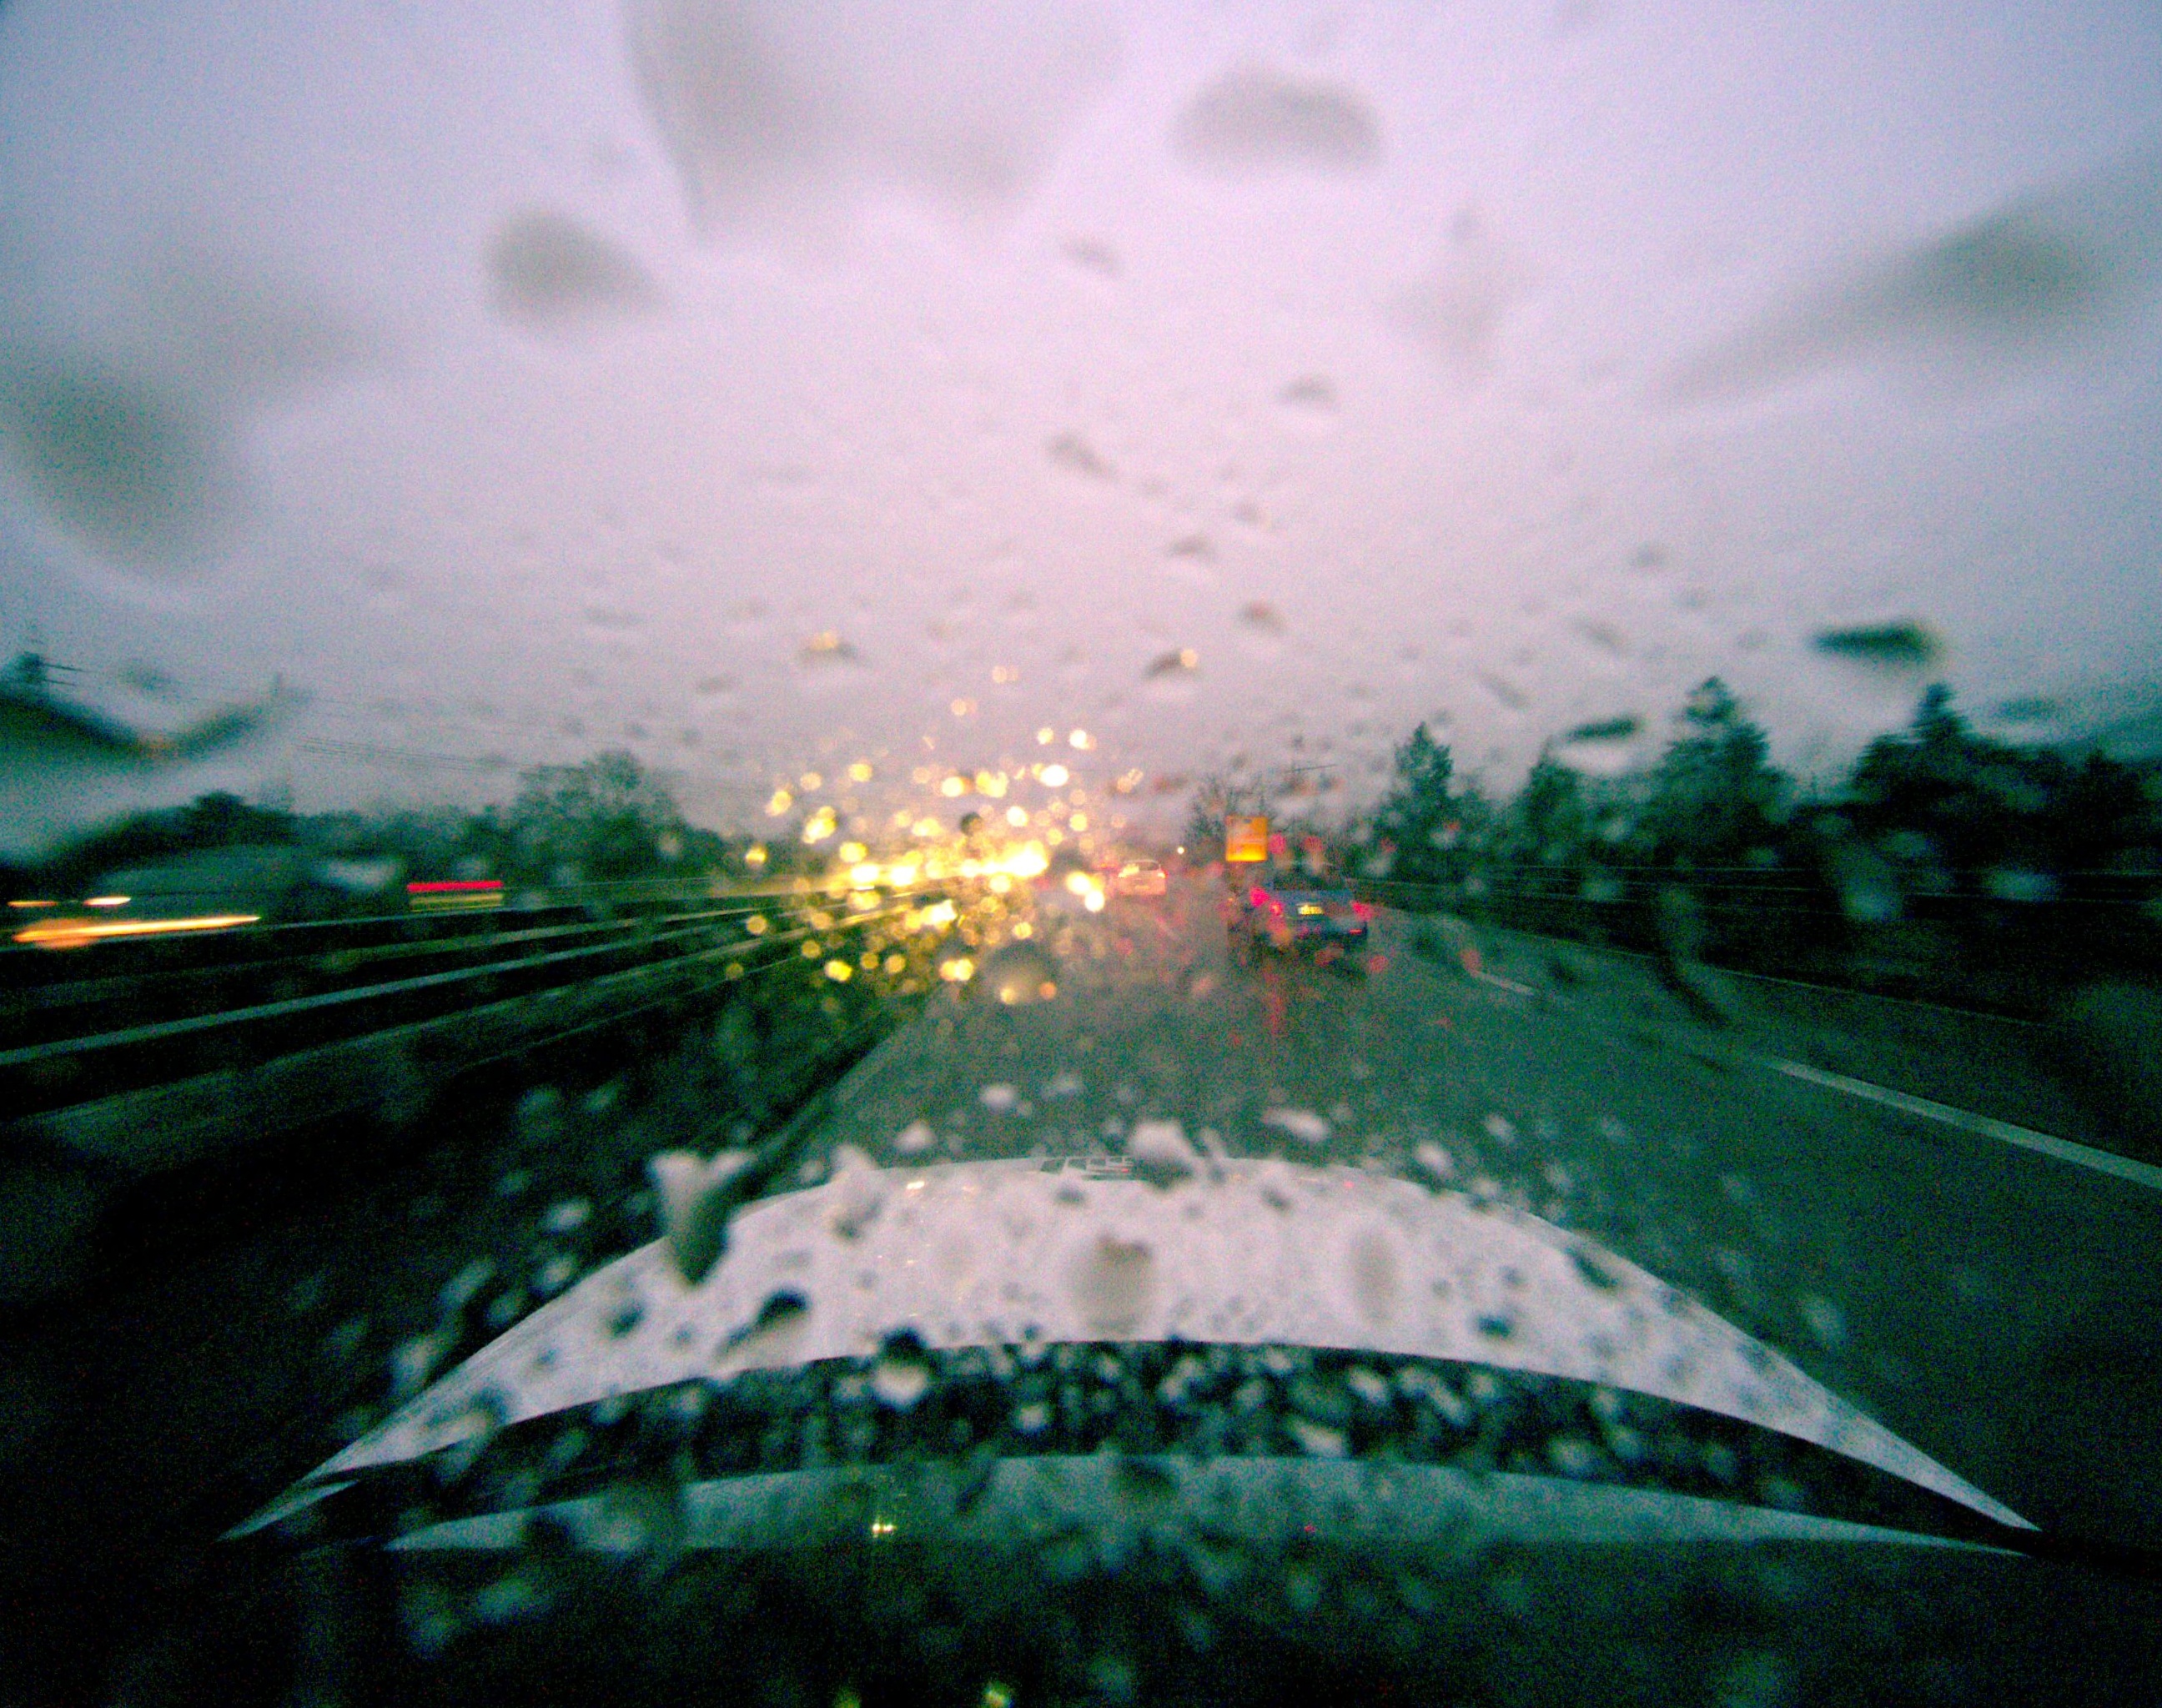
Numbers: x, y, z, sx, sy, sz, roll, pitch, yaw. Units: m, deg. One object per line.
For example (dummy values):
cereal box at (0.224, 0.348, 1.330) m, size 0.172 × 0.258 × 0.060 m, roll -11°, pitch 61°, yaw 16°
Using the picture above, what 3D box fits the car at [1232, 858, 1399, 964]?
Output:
car at (3.843, 0.852, 14.092) m, size 1.838 × 1.453 × 4.151 m, roll -1°, pitch 1°, yaw 2°

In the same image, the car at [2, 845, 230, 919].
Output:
car at (-28.483, 0.765, 24.274) m, size 1.987 × 2.013 × 4.000 m, roll 0°, pitch 0°, yaw 1°

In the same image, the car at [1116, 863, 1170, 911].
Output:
car at (2.227, 1.174, 30.152) m, size 1.838 × 1.636 × 3.769 m, roll 0°, pitch -1°, yaw 2°

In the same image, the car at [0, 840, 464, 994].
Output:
car at (-11.045, 0.653, 11.009) m, size 1.829 × 1.636 × 4.546 m, roll -1°, pitch 1°, yaw 1°

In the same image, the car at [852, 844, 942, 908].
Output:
car at (-6.680, 0.709, 30.228) m, size 1.986 × 2.136 × 5.201 m, roll -1°, pitch 1°, yaw 1°

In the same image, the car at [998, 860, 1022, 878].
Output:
car at (-6.674, 1.444, 77.013) m, size 1.839 × 1.651 × 3.539 m, roll 0°, pitch -1°, yaw 2°
